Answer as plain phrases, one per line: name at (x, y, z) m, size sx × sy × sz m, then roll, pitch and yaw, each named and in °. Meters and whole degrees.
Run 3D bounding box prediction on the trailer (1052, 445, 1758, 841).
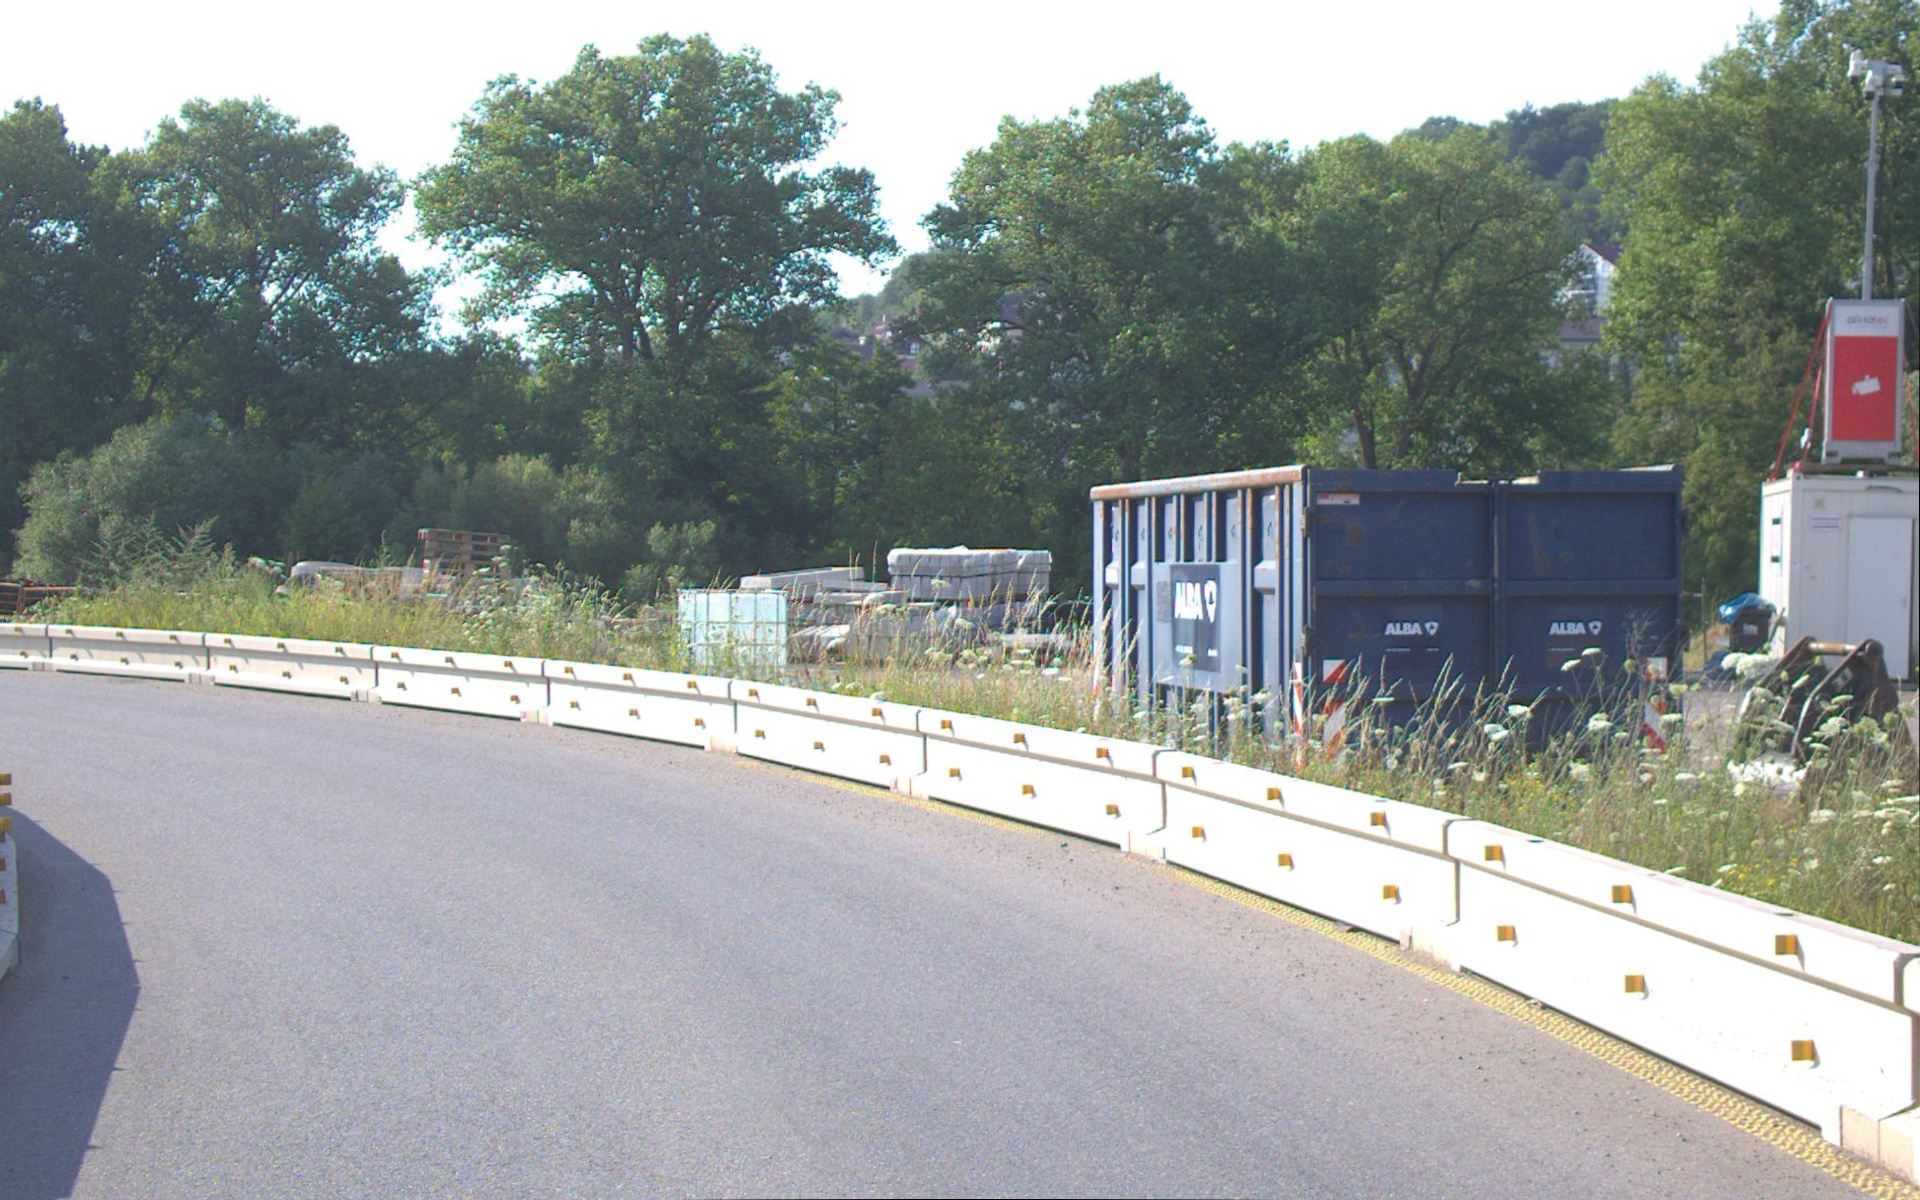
trailer at (2.911, 0.243, 25.123) m, size 3.003 × 2.406 × 7.231 m, roll 2°, pitch 0°, yaw -10°
